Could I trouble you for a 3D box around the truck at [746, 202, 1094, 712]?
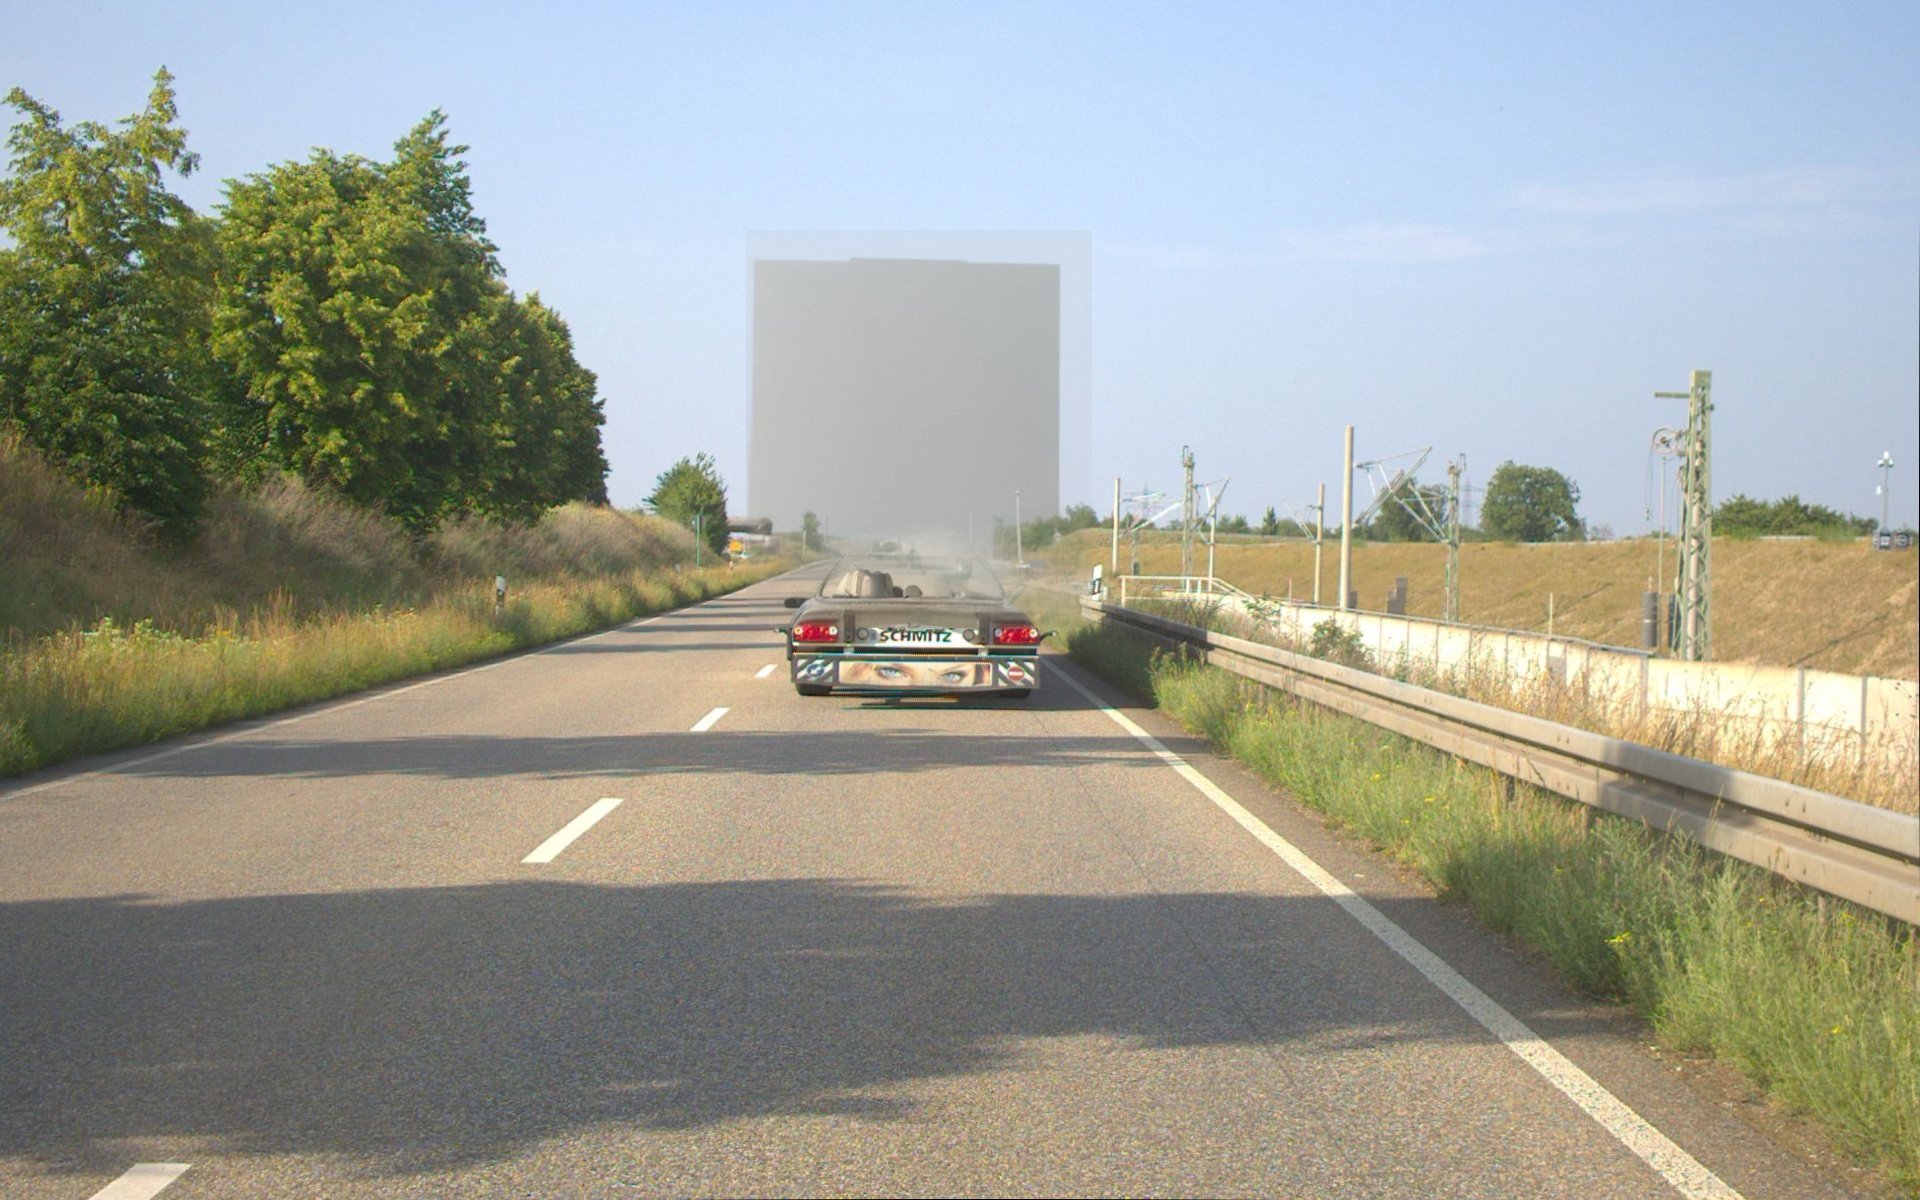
[{"bbox_3d":[-0.354,-1.393,35.936,3.153,4.672,8.442,1,1,0],"label":"truck"}]
